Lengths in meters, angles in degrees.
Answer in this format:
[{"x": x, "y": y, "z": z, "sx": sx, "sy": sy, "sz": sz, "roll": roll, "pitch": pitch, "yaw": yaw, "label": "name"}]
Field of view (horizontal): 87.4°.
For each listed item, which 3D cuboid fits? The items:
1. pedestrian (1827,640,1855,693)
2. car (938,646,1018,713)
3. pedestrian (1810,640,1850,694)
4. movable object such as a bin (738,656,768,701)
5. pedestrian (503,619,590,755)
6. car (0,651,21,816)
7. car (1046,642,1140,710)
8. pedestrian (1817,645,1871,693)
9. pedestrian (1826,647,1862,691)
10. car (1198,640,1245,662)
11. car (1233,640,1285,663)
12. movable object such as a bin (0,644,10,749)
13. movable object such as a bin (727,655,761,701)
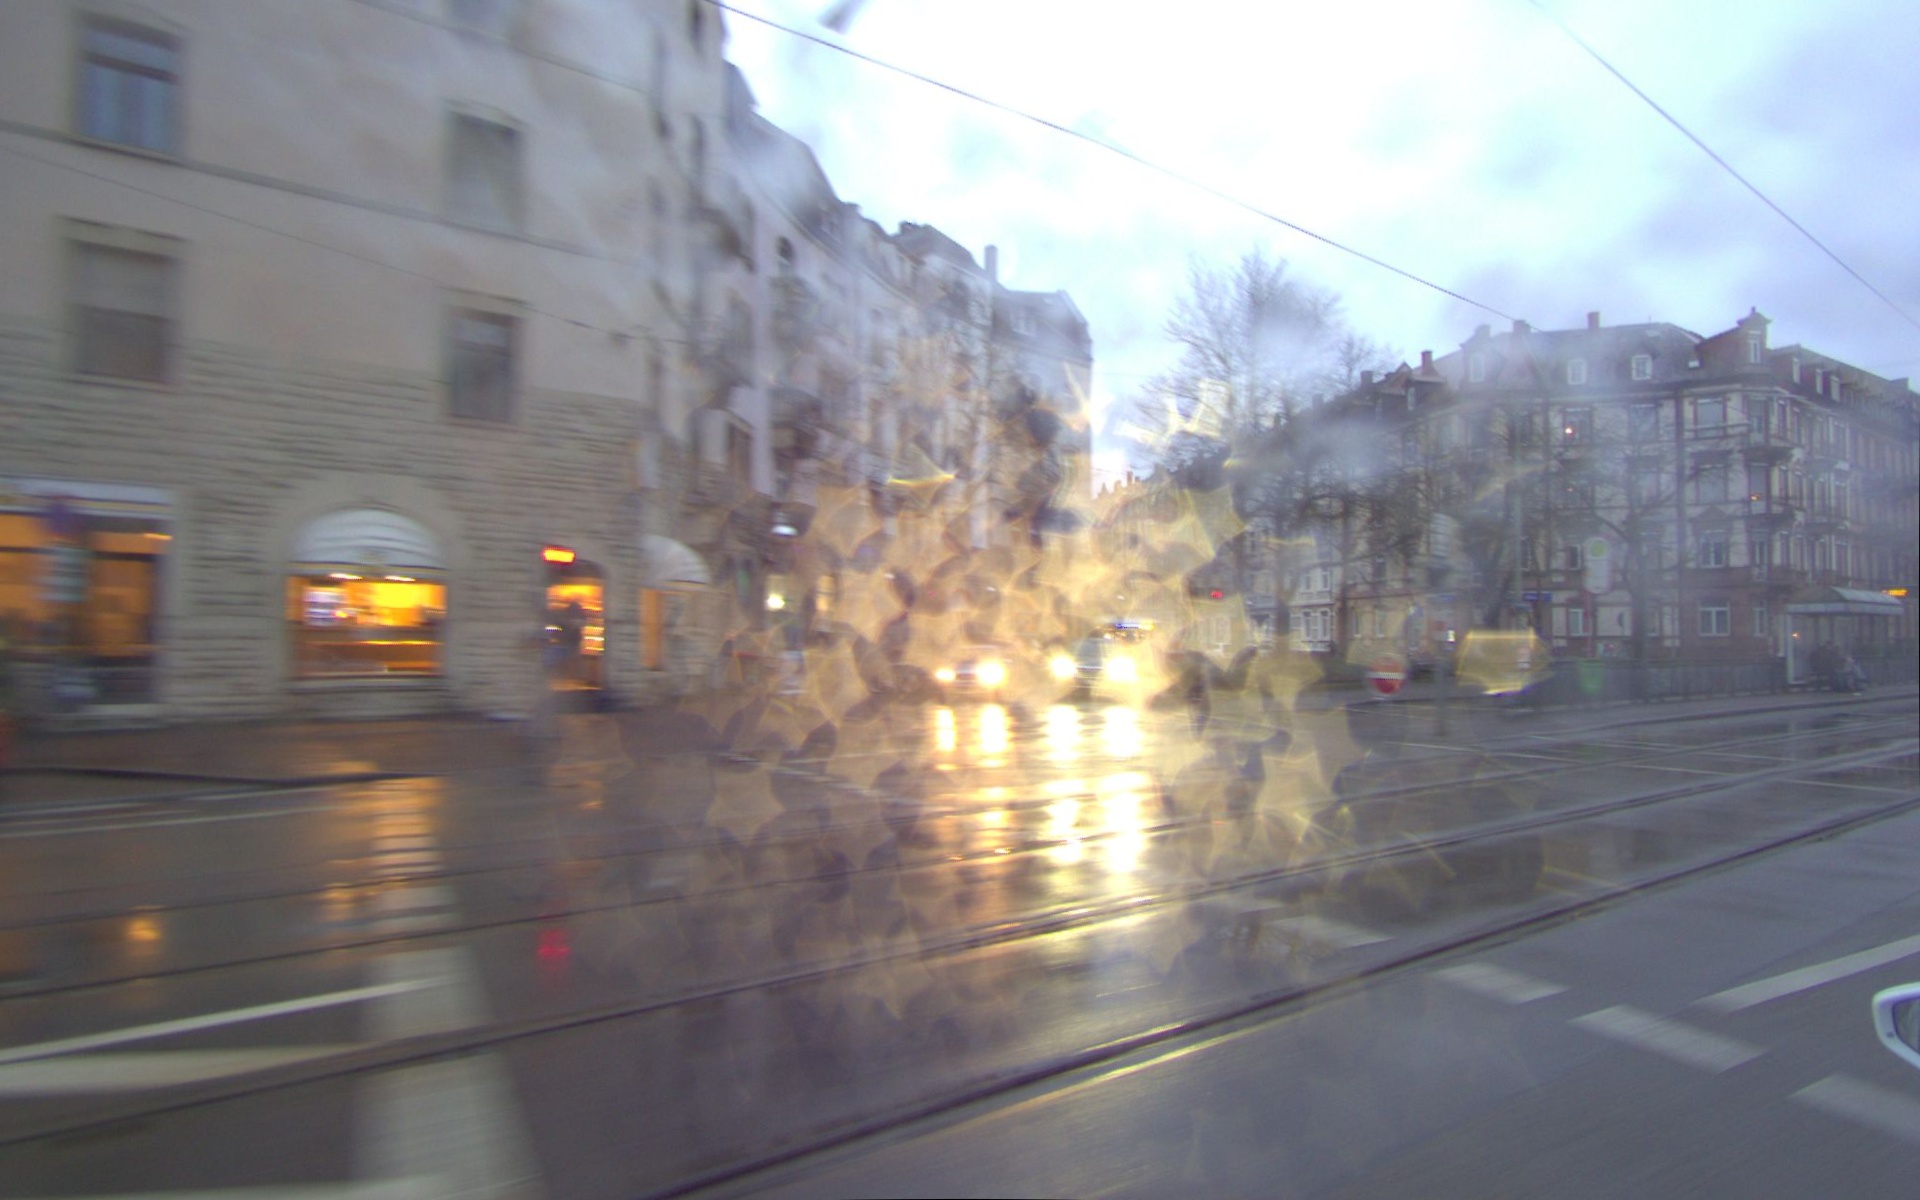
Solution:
[{"x": 24.404, "y": 1.841, "z": 27.826, "sx": 0.449, "sy": 1.422, "sz": 0.470, "roll": 2, "pitch": 0, "yaw": -35, "label": "pedestrian"}, {"x": 0.571, "y": 2.101, "z": 27.515, "sx": 1.581, "sy": 1.492, "sz": 3.828, "roll": 2, "pitch": 0, "yaw": 10, "label": "car"}, {"x": 23.910, "y": 1.824, "z": 27.614, "sx": 0.572, "sy": 1.422, "sz": 0.679, "roll": 2, "pitch": 0, "yaw": -35, "label": "pedestrian"}, {"x": -5.409, "y": 2.045, "z": 26.259, "sx": 0.640, "sy": 1.150, "sz": 0.649, "roll": 0, "pitch": -2, "yaw": 2, "label": "movable object such as a bin"}, {"x": -6.050, "y": 1.249, "z": 14.738, "sx": 0.877, "sy": 1.903, "sz": 0.798, "roll": 2, "pitch": 0, "yaw": 2, "label": "pedestrian"}, {"x": -11.373, "y": 1.310, "z": 9.408, "sx": 3.650, "sy": 1.536, "sz": 1.657, "roll": 2, "pitch": 0, "yaw": -41, "label": "car"}, {"x": 3.791, "y": 2.026, "z": 27.965, "sx": 1.898, "sy": 1.604, "sz": 4.345, "roll": 1, "pitch": -1, "yaw": 17, "label": "car"}, {"x": 25.177, "y": 1.956, "z": 28.608, "sx": 0.501, "sy": 1.271, "sz": 1.049, "roll": 2, "pitch": 0, "yaw": -34, "label": "pedestrian"}, {"x": 25.539, "y": 1.990, "z": 29.021, "sx": 0.512, "sy": 1.234, "sz": 0.648, "roll": 2, "pitch": 0, "yaw": -34, "label": "pedestrian"}, {"x": 21.338, "y": 4.188, "z": 82.190, "sx": 1.967, "sy": 1.728, "sz": 3.989, "roll": 0, "pitch": -3, "yaw": -15, "label": "car"}, {"x": 22.802, "y": 3.919, "z": 76.716, "sx": 1.966, "sy": 1.728, "sz": 3.989, "roll": 0, "pitch": -3, "yaw": -15, "label": "car"}, {"x": -13.389, "y": 1.304, "z": 13.082, "sx": 1.269, "sy": 1.390, "sz": 1.340, "roll": 2, "pitch": 0, "yaw": -36, "label": "movable object such as a bin"}, {"x": -5.486, "y": 1.981, "z": 25.541, "sx": 0.678, "sy": 1.150, "sz": 0.649, "roll": 0, "pitch": -2, "yaw": 2, "label": "movable object such as a bin"}]
